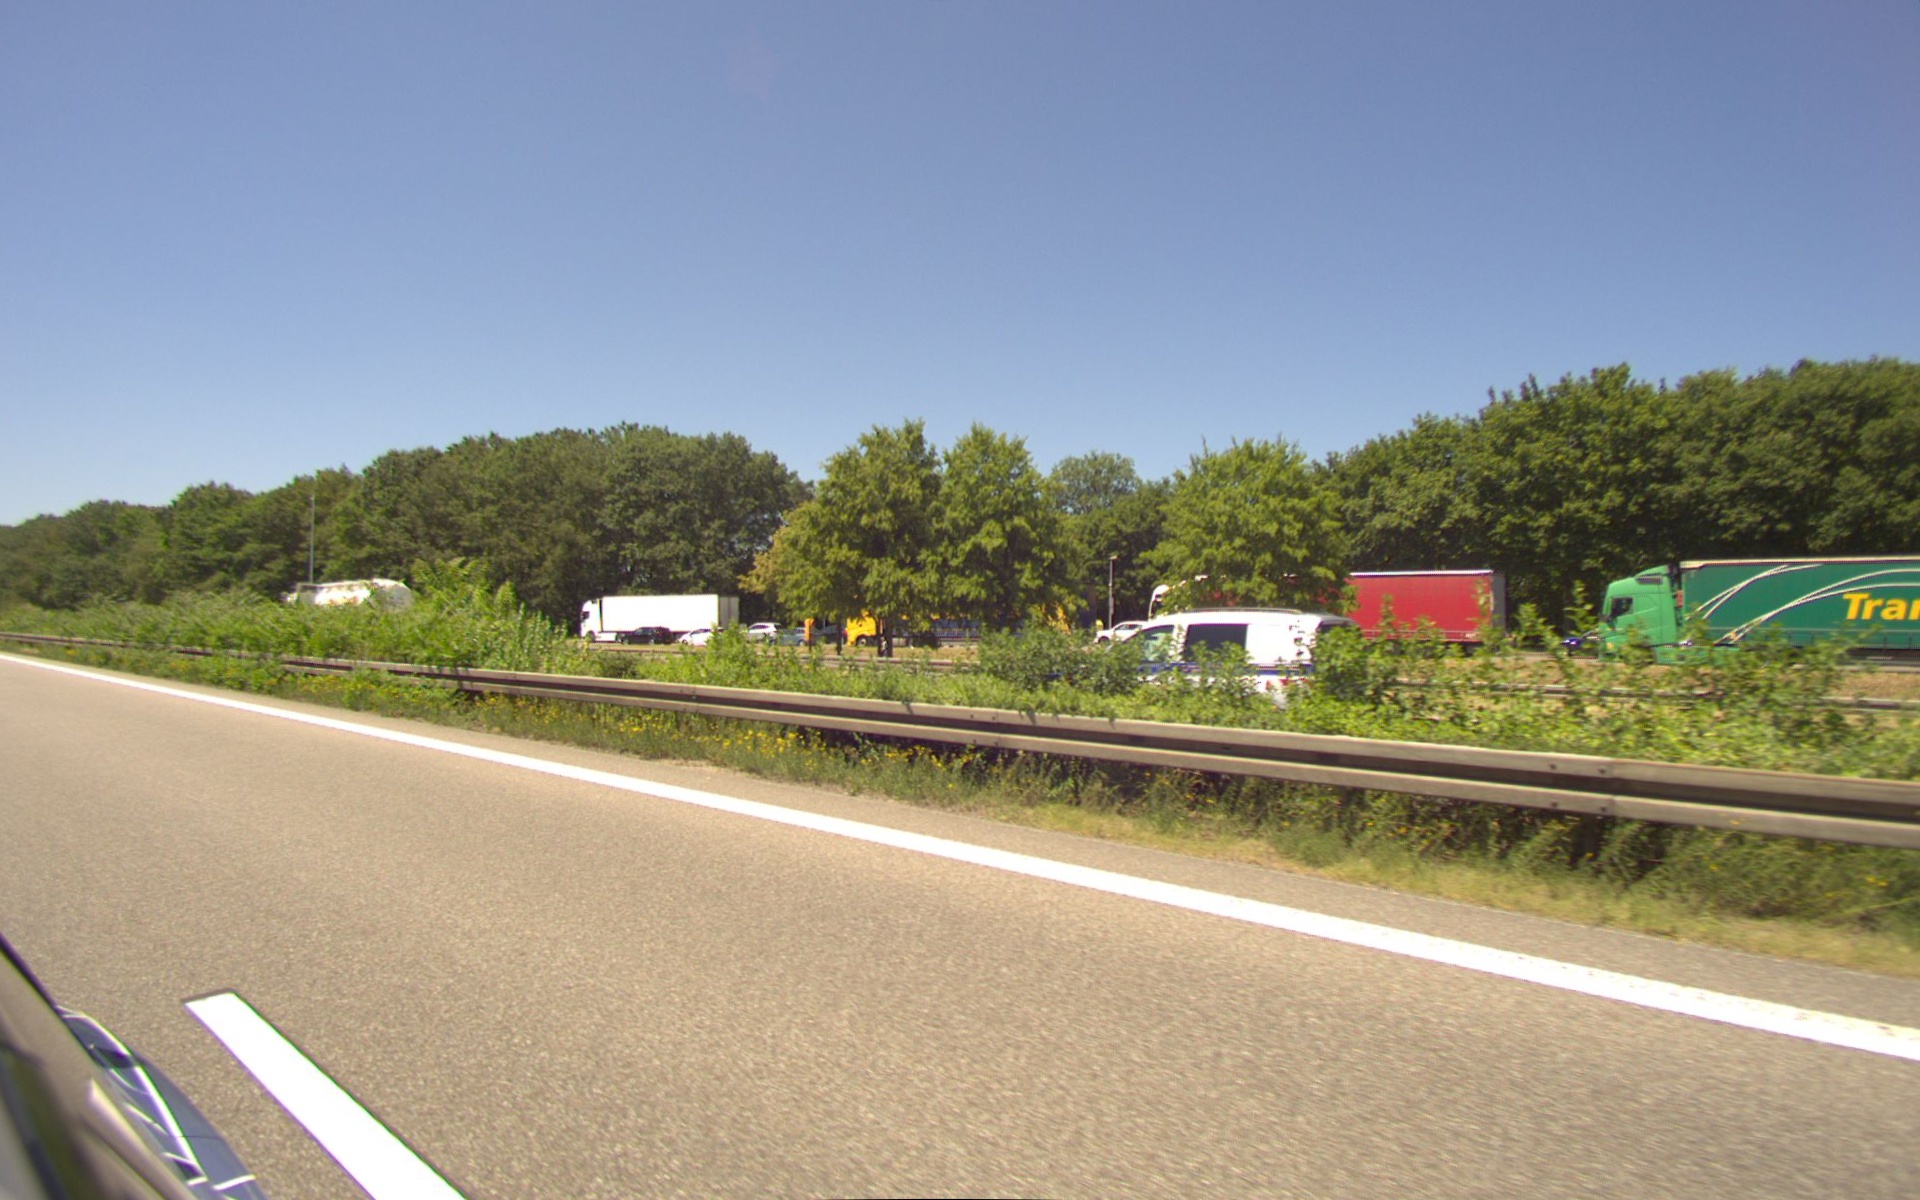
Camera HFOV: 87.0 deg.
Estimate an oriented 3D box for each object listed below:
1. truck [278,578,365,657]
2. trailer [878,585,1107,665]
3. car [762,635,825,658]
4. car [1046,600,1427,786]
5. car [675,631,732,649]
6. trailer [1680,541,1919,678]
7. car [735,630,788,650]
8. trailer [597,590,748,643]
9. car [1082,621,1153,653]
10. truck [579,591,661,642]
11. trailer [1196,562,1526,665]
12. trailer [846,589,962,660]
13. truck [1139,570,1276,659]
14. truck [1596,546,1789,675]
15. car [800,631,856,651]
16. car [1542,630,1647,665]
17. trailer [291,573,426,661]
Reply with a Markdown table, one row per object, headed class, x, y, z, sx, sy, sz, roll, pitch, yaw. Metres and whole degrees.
| class | x | y | z | sx | sy | sz | roll | pitch | yaw |
| --- | --- | --- | --- | --- | --- | --- | --- | --- | --- |
| truck | -36.215 | 1.004 | 57.350 | 4.817 | 4.296 | 2.852 | -1 | -2 | 41 |
| trailer | 1.667 | 1.471 | 60.244 | 13.991 | 4.296 | 3.570 | -1 | -2 | 35 |
| car | -11.195 | 3.097 | 68.091 | 3.984 | 1.467 | 1.722 | -1 | -2 | 30 |
| car | 3.374 | 0.999 | 12.787 | 4.199 | 1.939 | 1.973 | -1 | 0 | 41 |
| car | -18.743 | 2.891 | 73.850 | 3.984 | 1.298 | 1.722 | -1 | -2 | 30 |
| trailer | 33.745 | 0.356 | 35.043 | 14.021 | 4.627 | 3.562 | -1 | -2 | 43 |
| car | -15.798 | 3.156 | 80.337 | 3.984 | 1.467 | 1.722 | -1 | -2 | 30 |
| trailer | -24.563 | 1.412 | 86.030 | 13.965 | 4.296 | 3.576 | -1 | -2 | 30 |
| car | 9.693 | 2.279 | 62.378 | 3.986 | 1.890 | 1.721 | -1 | -2 | 32 |
| truck | -29.991 | 1.463 | 89.174 | 6.243 | 4.296 | 3.576 | -1 | -2 | 30 |
| trailer | 18.376 | 0.685 | 47.606 | 14.005 | 4.296 | 3.566 | -1 | -2 | 38 |
| trailer | -3.561 | 1.541 | 63.972 | 6.579 | 4.296 | 3.570 | -1 | -2 | 35 |
| truck | 12.699 | 0.775 | 52.093 | 5.929 | 4.296 | 3.566 | -1 | -2 | 38 |
| truck | 28.687 | 0.455 | 39.708 | 5.757 | 4.627 | 3.562 | -1 | -2 | 42 |
| car | -9.918 | 3.079 | 76.003 | 3.984 | 1.467 | 1.722 | -1 | -2 | 30 |
| car | 29.905 | 2.227 | 47.731 | 3.998 | 1.550 | 1.716 | -1 | -2 | 41 |
| trailer | -32.117 | 0.931 | 53.788 | 10.833 | 4.296 | 2.852 | -1 | -2 | 41 |
